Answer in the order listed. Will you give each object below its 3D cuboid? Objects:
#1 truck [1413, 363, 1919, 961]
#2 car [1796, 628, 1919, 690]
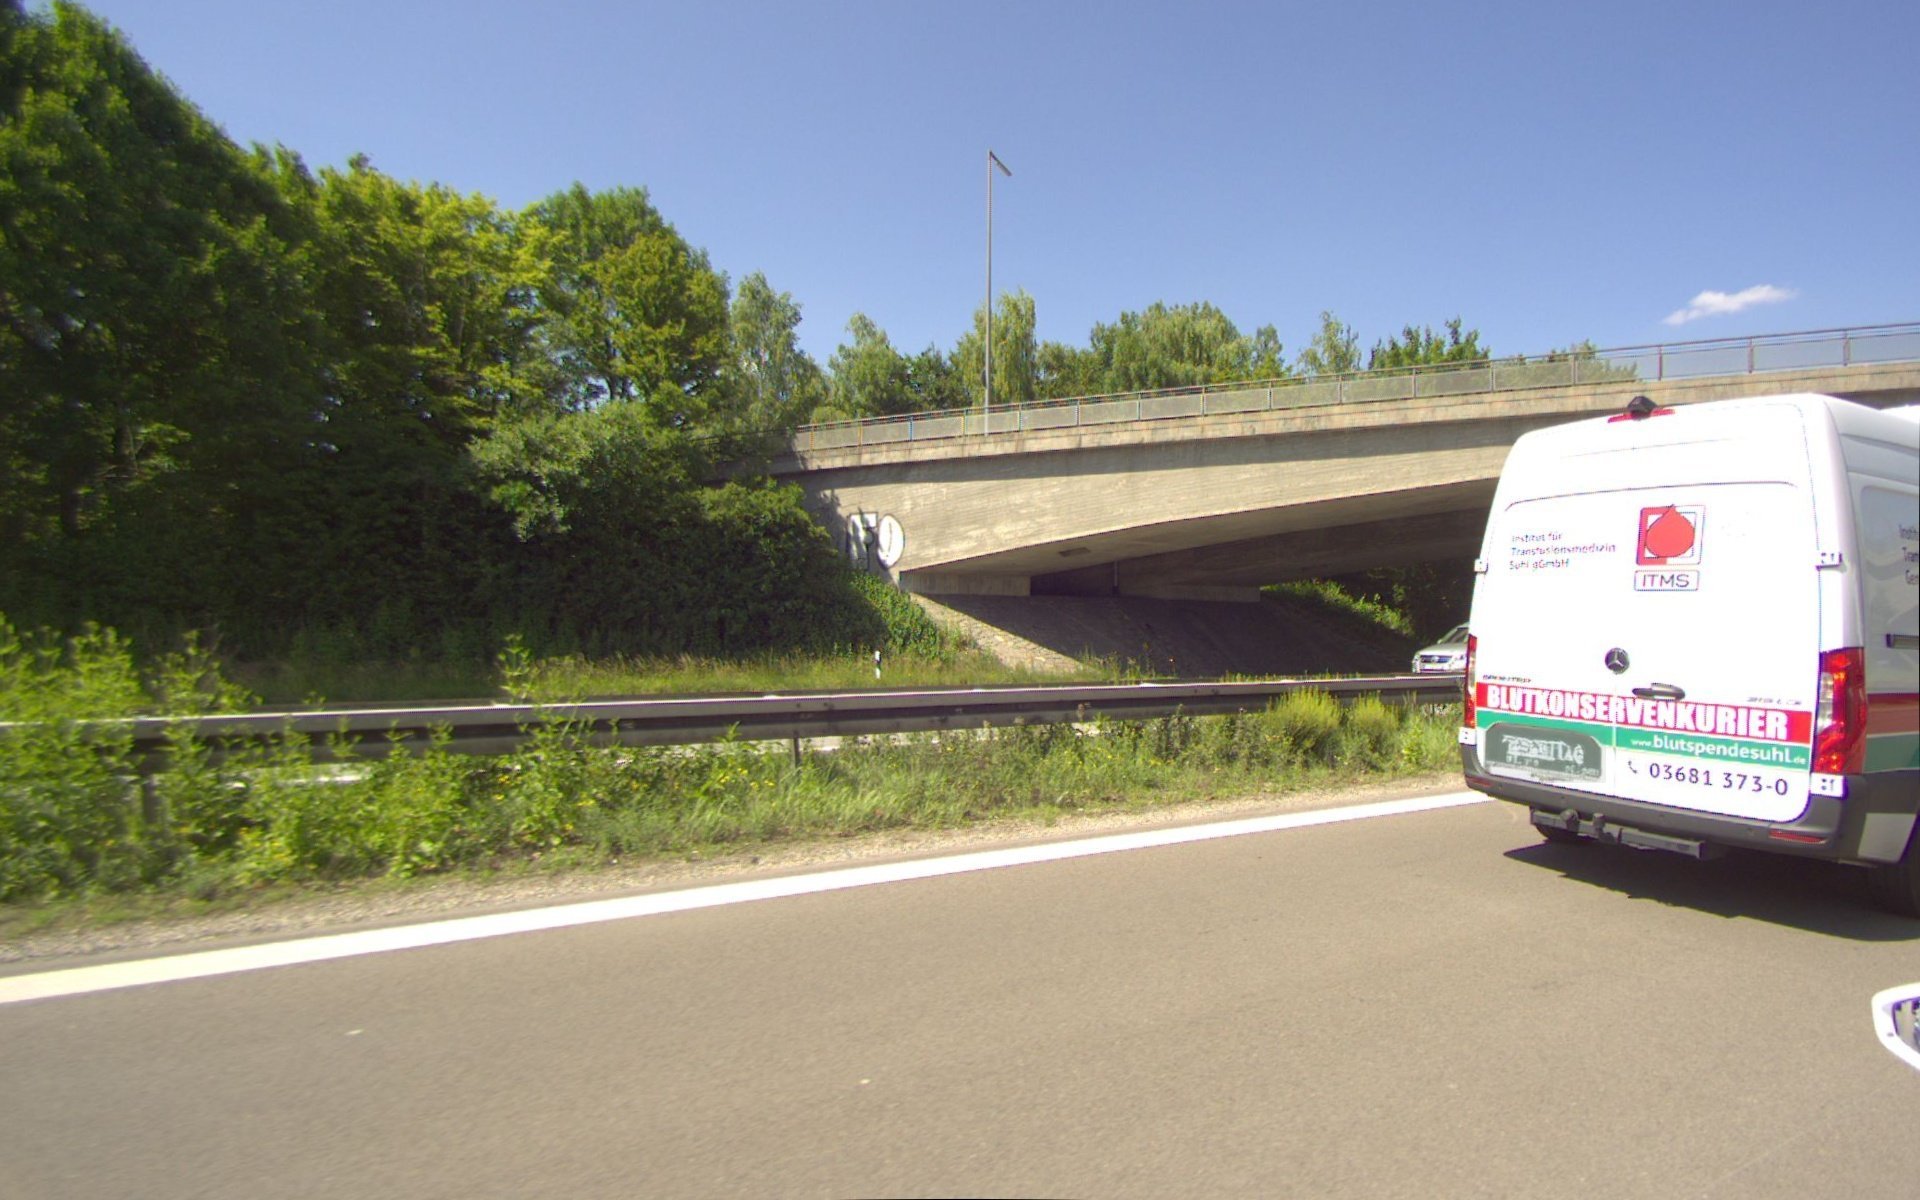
[{"bbox_3d":[6.105,0.320,6.856,6.612,2.576,1.984,1,0,-30],"label":"truck"},{"bbox_3d":[24.775,1.544,27.165,4.695,1.547,1.851,1,-1,-30],"label":"car"}]
